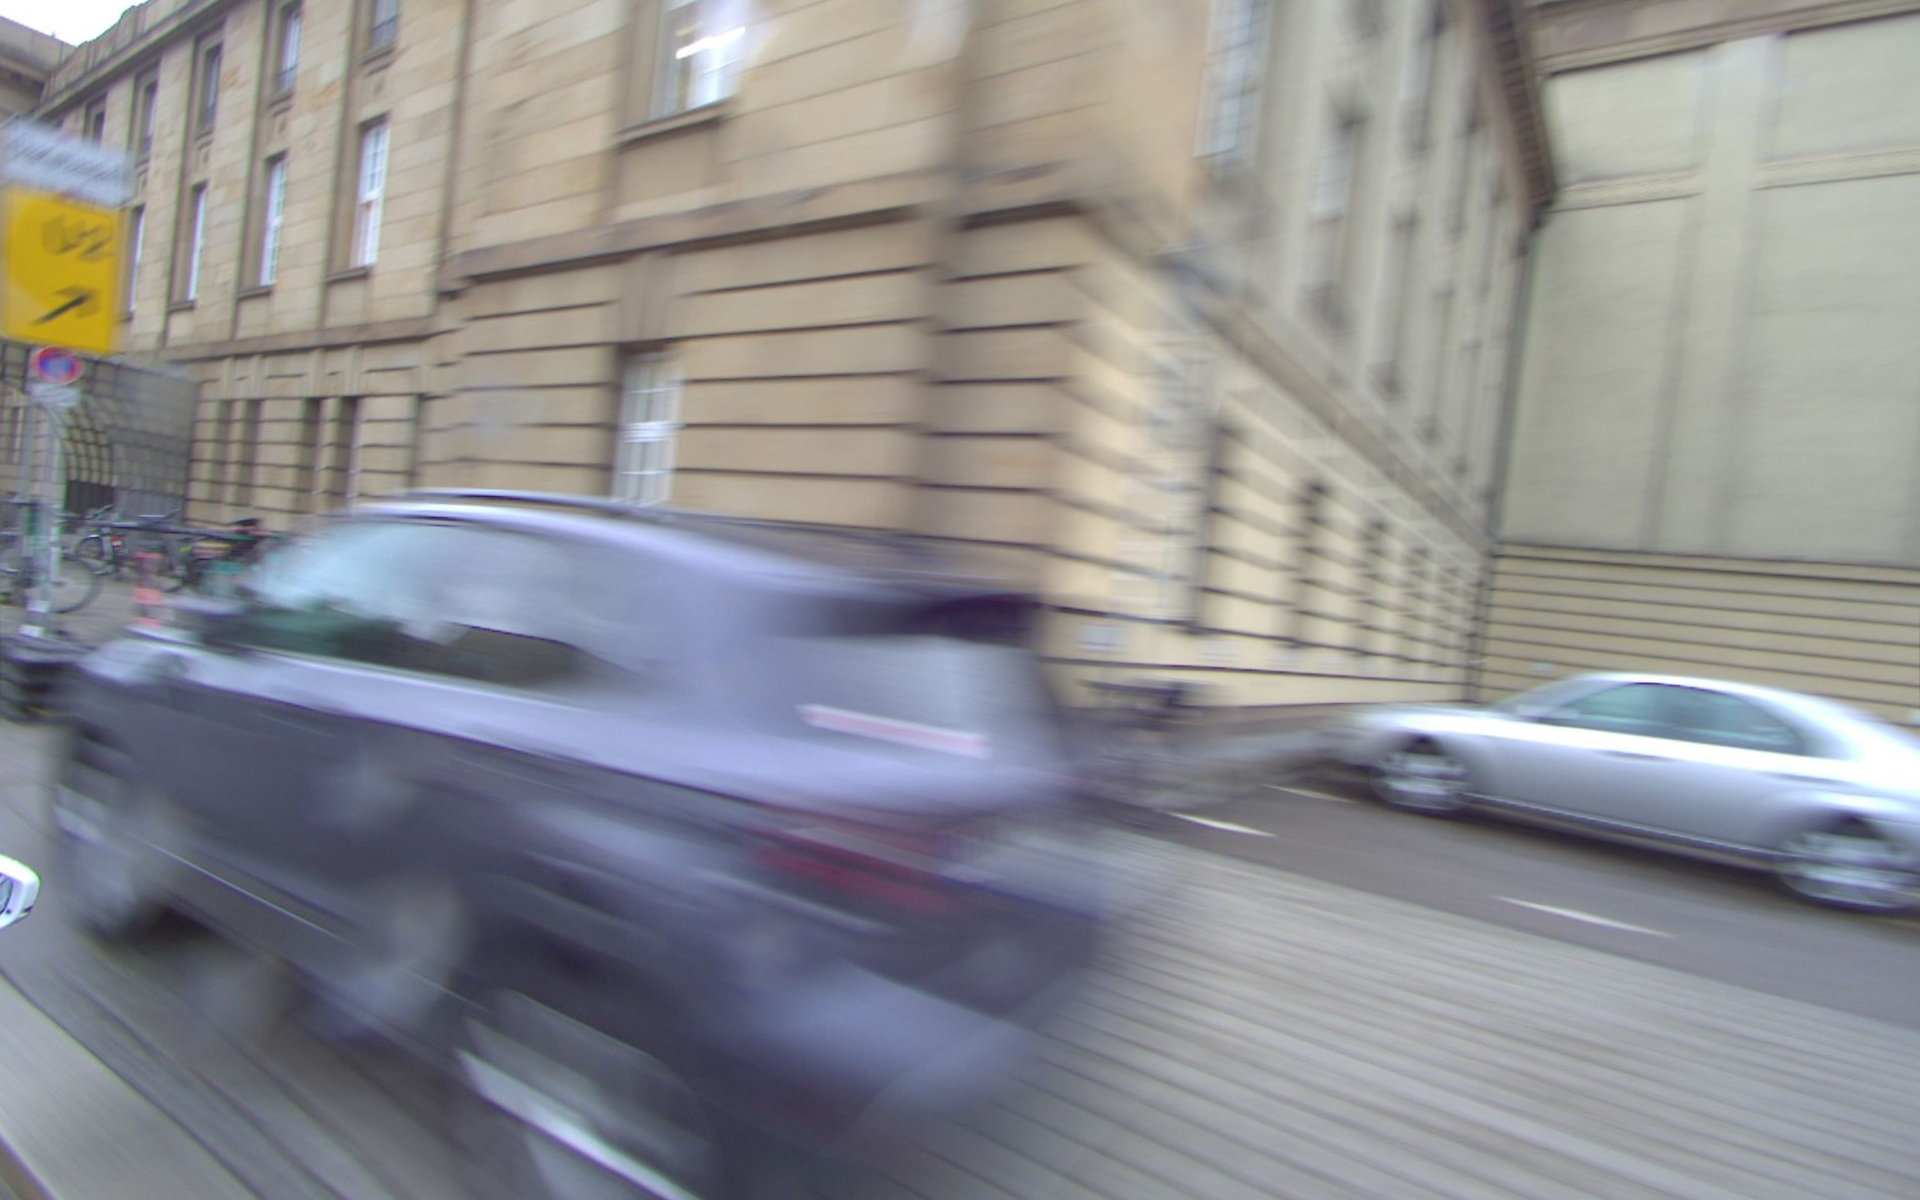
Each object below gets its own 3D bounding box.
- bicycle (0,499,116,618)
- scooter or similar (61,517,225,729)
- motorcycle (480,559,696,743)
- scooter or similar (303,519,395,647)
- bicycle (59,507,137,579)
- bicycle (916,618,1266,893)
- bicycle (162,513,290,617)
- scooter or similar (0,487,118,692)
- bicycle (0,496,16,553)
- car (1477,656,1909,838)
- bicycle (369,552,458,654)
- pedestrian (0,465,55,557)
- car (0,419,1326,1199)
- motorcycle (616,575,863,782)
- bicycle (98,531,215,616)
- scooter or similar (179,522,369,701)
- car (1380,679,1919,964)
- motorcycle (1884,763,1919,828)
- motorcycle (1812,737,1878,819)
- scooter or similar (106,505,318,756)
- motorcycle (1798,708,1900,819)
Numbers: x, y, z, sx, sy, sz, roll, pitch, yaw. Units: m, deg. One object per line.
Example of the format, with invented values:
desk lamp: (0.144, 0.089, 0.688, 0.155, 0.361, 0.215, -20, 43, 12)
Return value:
bicycle: (-10.928, -0.520, 11.766, 1.930, 1.234, 0.777, 7, 2, 23)
scooter or similar: (-5.353, 0.129, 6.580, 1.103, 1.233, 0.433, 7, 2, 31)
motorcycle: (-3.336, 0.411, 8.909, 2.103, 1.341, 0.667, 6, -1, 38)
scooter or similar: (-7.445, -0.224, 12.245, 1.249, 1.434, 0.413, 7, 0, 38)
bicycle: (-14.548, -0.973, 16.965, 1.732, 1.050, 0.583, 6, -1, 38)
bicycle: (0.846, 0.913, 6.489, 1.827, 1.333, 1.104, 7, -1, 30)
bicycle: (-10.506, -0.504, 14.383, 1.729, 1.284, 0.731, 7, 0, 29)
scooter or similar: (-6.727, -0.088, 7.139, 0.428, 1.384, 1.329, 7, -1, -10)
bicycle: (-21.833, -1.745, 22.563, 1.664, 1.230, 0.464, 7, 0, 32)
car: (9.854, 1.875, 13.958, 4.436, 1.559, 1.819, 8, 1, 35)
bicycle: (-6.577, 0.008, 12.056, 0.417, 1.062, 1.750, 7, -1, -43)
pedestrian: (-19.473, -1.844, 20.911, 0.632, 1.801, 0.794, 7, 3, 34)
car: (-1.375, 0.453, 3.218, 4.333, 1.639, 1.872, 7, 1, 34)
motorcycle: (-1.744, 0.568, 7.832, 1.772, 1.314, 0.807, 6, -1, 38)
bicycle: (-12.186, -0.405, 15.254, 1.711, 1.064, 0.713, 7, -1, 29)
scooter or similar: (-5.703, 0.094, 8.380, 1.234, 1.308, 0.435, 7, 0, 10)
car: (5.712, 1.628, 8.002, 4.061, 1.428, 1.522, 6, 0, 34)
motorcycle: (18.416, 3.782, 19.525, 0.473, 1.083, 1.660, 7, 1, 38)
motorcycle: (17.376, 3.464, 19.785, 0.724, 1.384, 1.660, 7, 1, 38)
scooter or similar: (-4.511, 0.170, 6.065, 1.058, 1.335, 0.435, 7, 0, 23)
motorcycle: (14.468, 2.633, 16.426, 0.836, 1.563, 1.973, 9, 0, 35)
